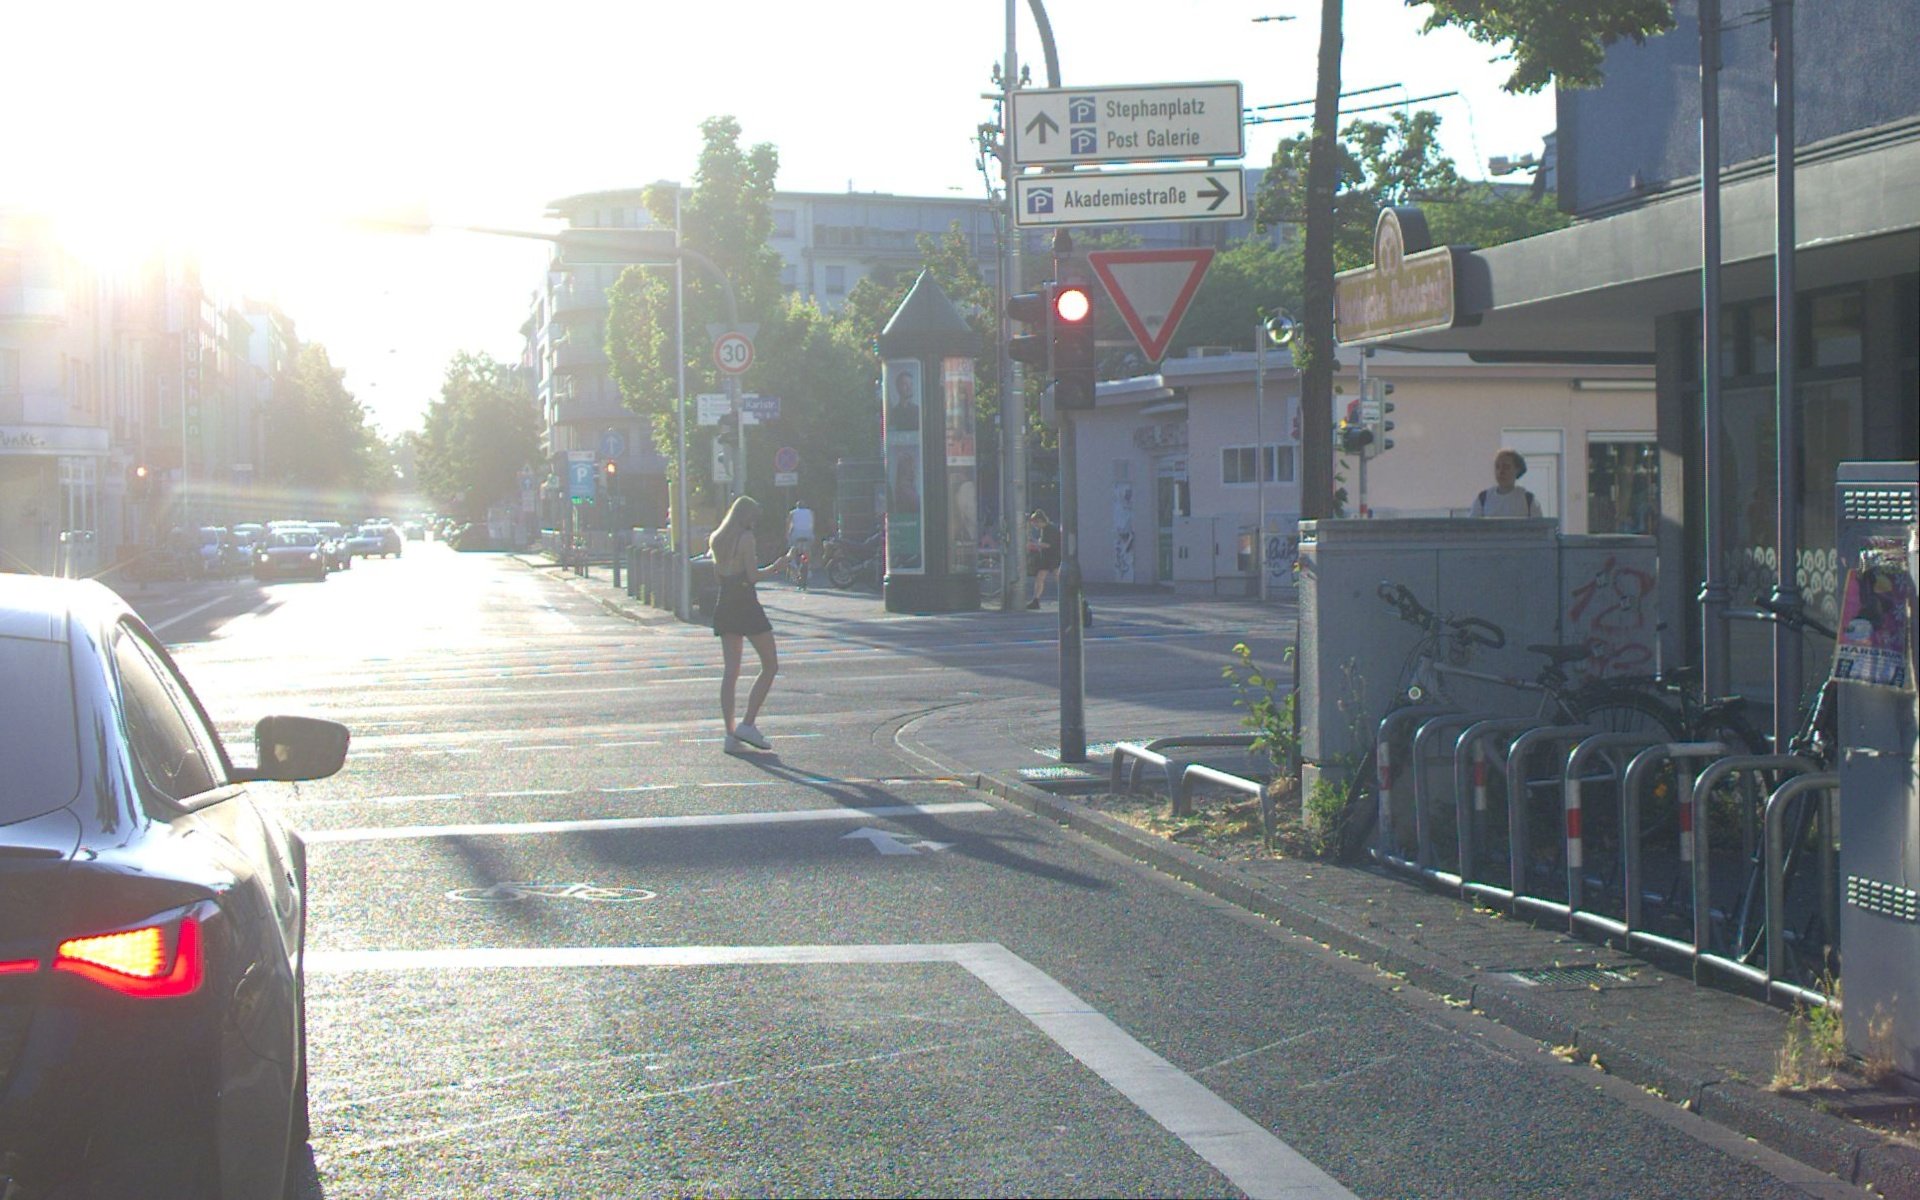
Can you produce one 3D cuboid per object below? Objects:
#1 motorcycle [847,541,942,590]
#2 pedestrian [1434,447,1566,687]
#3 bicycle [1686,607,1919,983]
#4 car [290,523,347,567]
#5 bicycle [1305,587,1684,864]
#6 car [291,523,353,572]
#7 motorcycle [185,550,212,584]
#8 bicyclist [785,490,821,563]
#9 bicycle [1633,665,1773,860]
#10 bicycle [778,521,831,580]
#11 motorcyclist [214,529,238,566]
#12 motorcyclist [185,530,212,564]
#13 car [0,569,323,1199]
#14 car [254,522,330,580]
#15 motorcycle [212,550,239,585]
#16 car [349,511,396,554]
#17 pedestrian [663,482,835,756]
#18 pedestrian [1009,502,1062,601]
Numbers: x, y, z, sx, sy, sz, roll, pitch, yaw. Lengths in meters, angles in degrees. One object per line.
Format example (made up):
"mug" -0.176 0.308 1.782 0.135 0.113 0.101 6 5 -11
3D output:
"motorcycle" -1.290 -0.686 67.873 1.668 0.935 0.856 -1 2 -19
"pedestrian" 4.230 -0.265 26.968 0.835 1.835 0.679 -1 1 -8
"bicycle" 3.189 0.643 11.452 1.440 1.216 0.383 1 1 -7
"car" -23.014 -1.973 123.414 1.817 1.514 4.001 -1 1 -8
"bicycle" 2.354 0.543 15.155 1.612 1.167 0.318 -1 1 -6
"car" -20.925 -1.743 112.933 1.817 1.514 4.001 -1 1 -8
"motorcycle" -20.852 -0.914 94.146 0.575 0.912 2.201 1 1 -8
"bicyclist" -3.173 -1.485 69.517 0.550 1.476 0.723 0 0 -17
"bicycle" 3.309 0.712 15.367 0.249 0.793 1.116 1 1 -7
"bicycle" -3.140 -0.997 69.397 0.550 1.155 2.145 0 1 -17
"motorcyclist" -19.999 -1.424 93.647 0.575 0.992 0.703 1 1 -8
"motorcyclist" -20.844 -1.444 94.129 0.575 0.912 2.201 1 1 -8
"car" -2.119 0.679 6.490 1.736 1.424 4.225 0 1 -10
"car" -18.335 -1.374 94.498 1.817 1.514 4.001 -1 1 -8
"motorcycle" -20.025 -0.896 93.755 0.575 0.912 2.201 1 1 -8
"car" -25.969 -2.991 151.982 1.771 1.842 4.001 -1 2 -6
"pedestrian" -1.465 0.125 23.818 1.001 1.854 0.640 0 1 -28
"pedestrian" 1.175 -0.752 53.495 0.733 1.524 0.472 1 1 11
